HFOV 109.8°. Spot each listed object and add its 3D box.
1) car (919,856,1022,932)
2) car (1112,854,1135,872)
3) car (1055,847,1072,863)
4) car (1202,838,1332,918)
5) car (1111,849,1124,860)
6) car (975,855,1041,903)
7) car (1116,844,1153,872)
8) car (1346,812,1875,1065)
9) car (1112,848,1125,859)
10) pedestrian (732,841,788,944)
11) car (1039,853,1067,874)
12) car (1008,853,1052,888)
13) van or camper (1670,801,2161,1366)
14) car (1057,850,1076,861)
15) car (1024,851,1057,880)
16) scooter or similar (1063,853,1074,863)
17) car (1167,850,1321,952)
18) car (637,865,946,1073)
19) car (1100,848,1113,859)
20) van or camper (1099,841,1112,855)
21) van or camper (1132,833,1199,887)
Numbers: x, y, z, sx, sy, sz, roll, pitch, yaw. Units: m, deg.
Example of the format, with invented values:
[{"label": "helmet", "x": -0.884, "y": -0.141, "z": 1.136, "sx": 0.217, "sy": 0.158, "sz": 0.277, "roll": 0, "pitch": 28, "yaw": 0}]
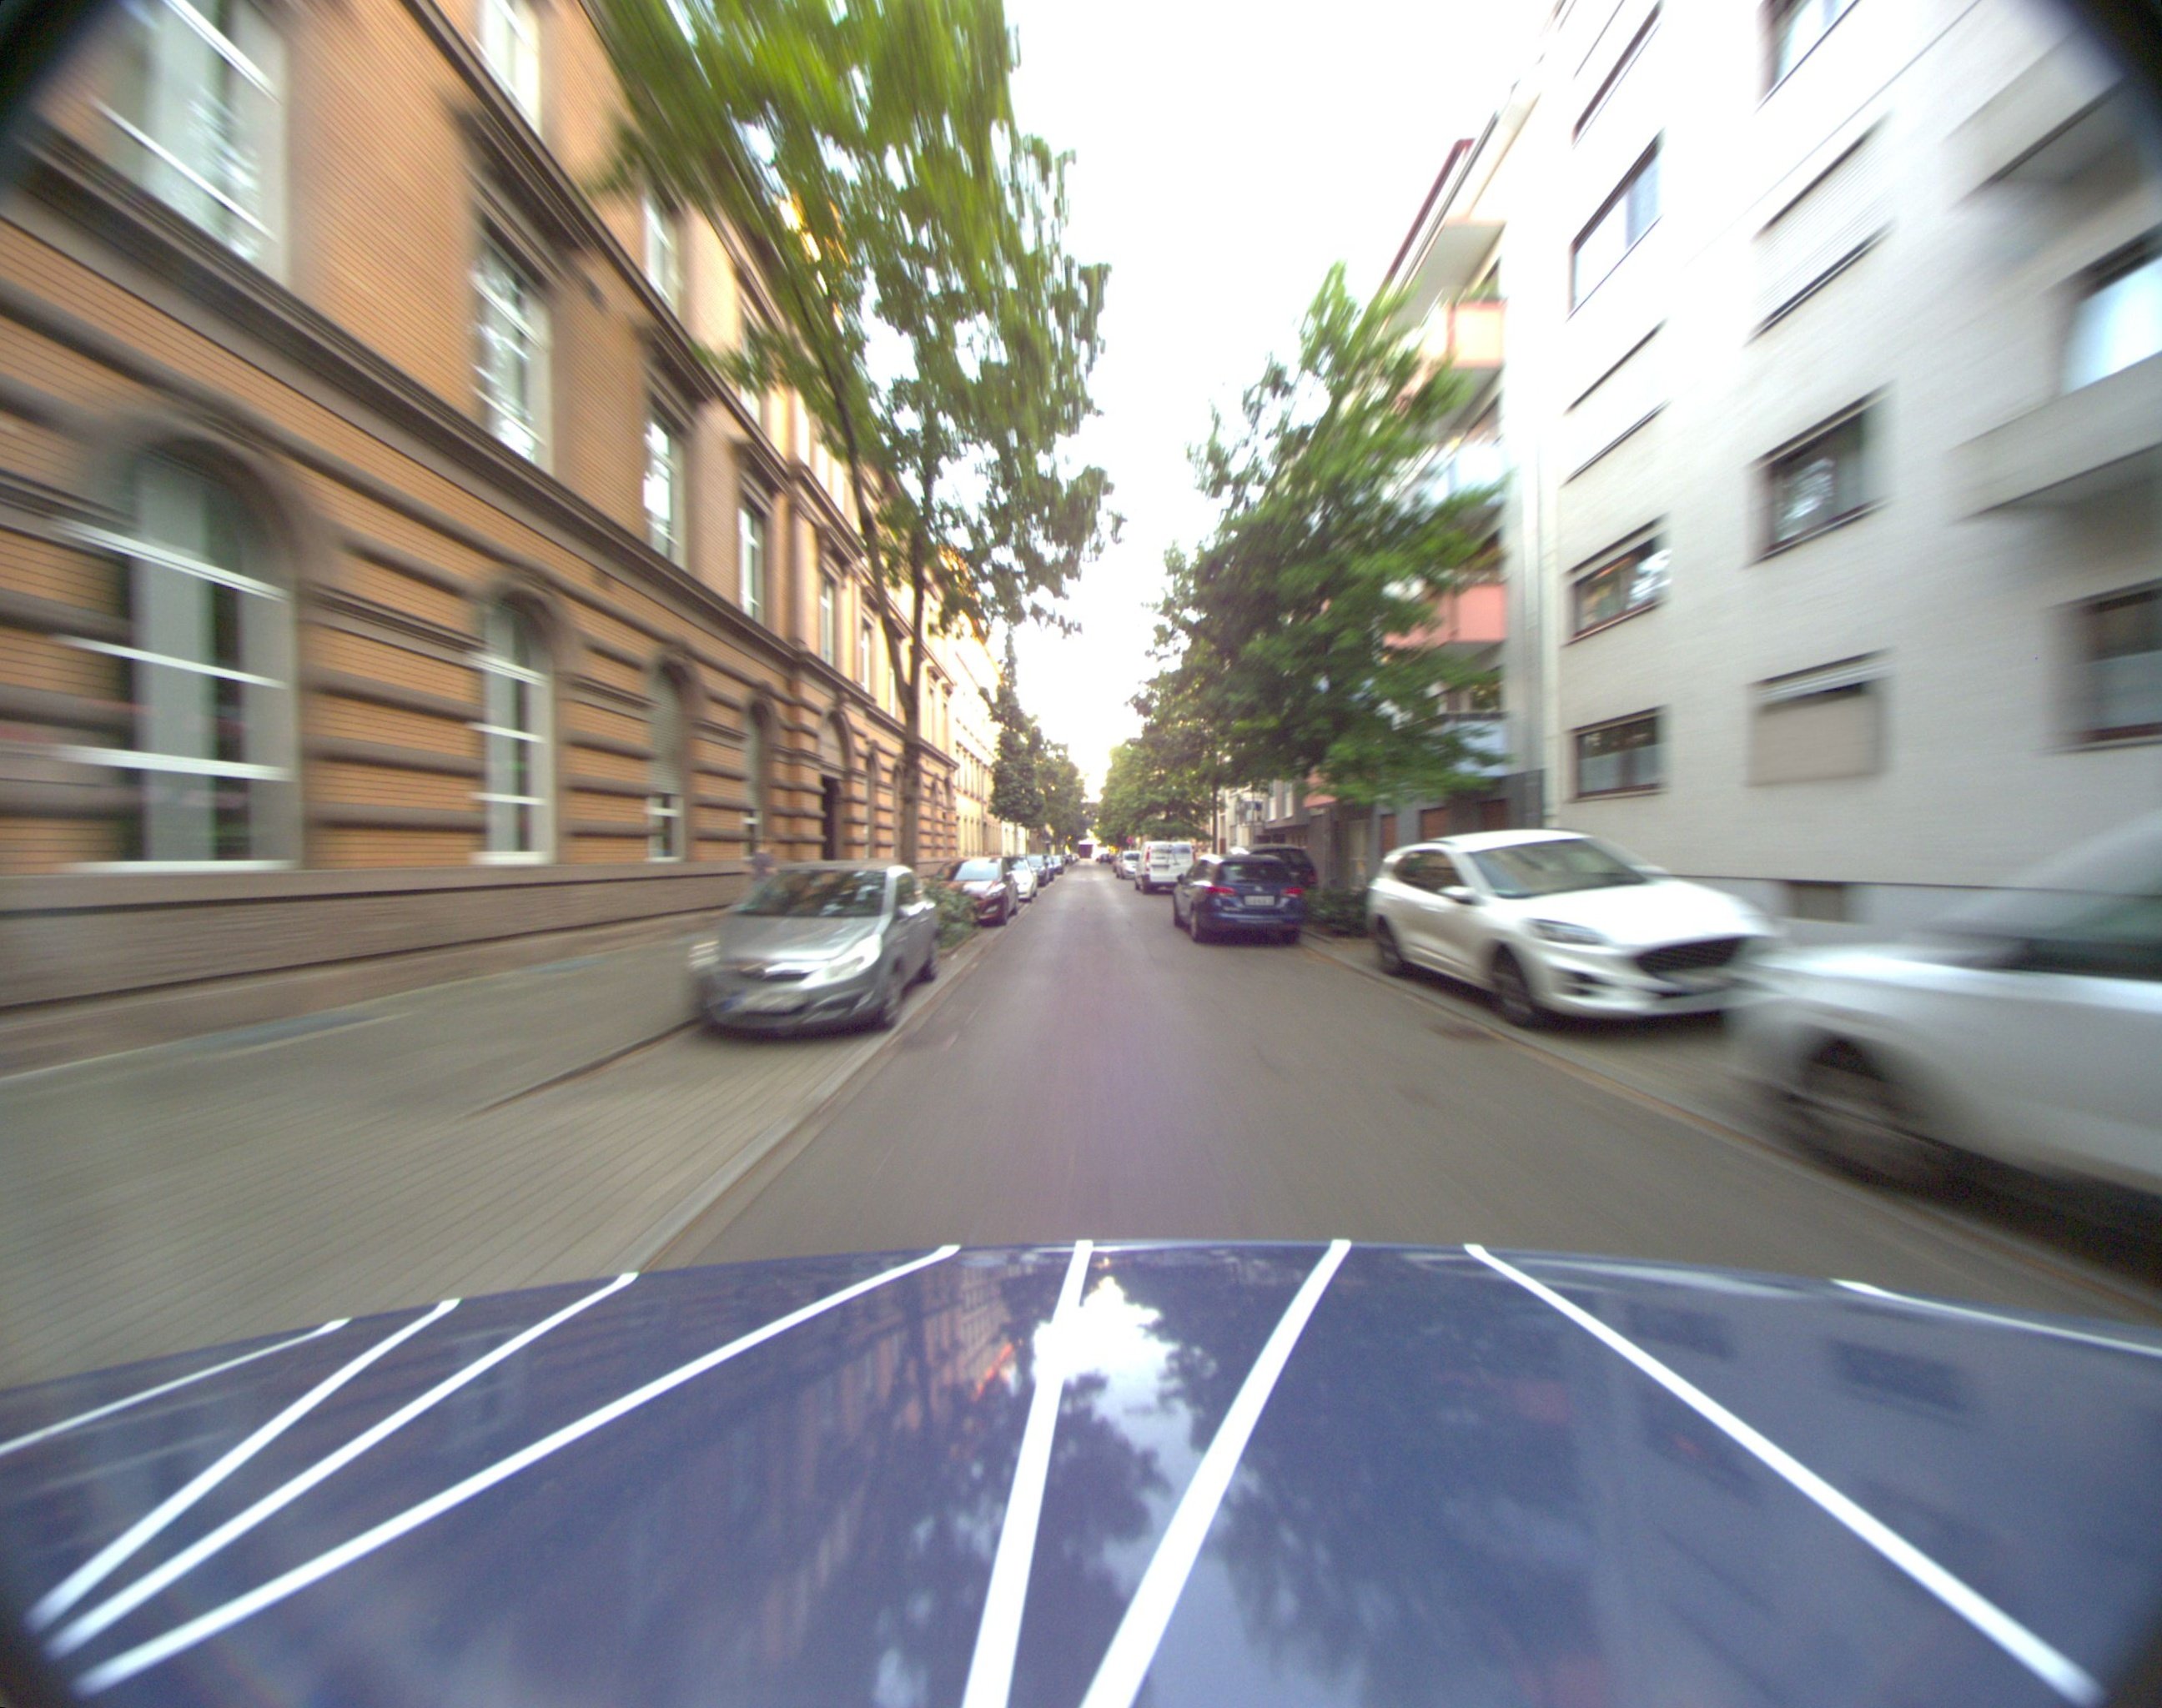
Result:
[{"label": "car", "x": -2.404, "y": 0.814, "z": 17.498, "sx": 1.726, "sy": 1.441, "sz": 4.214, "roll": 0, "pitch": 1, "yaw": 0}, {"label": "car", "x": 3.364, "y": 0.697, "z": 60.604, "sx": 1.584, "sy": 1.412, "sz": 3.753, "roll": -1, "pitch": 1, "yaw": 0}, {"label": "car", "x": -2.147, "y": 0.120, "z": 94.550, "sx": 2.019, "sy": 1.822, "sz": 4.810, "roll": 1, "pitch": 0, "yaw": 0}, {"label": "car", "x": 4.455, "y": 0.507, "z": 19.038, "sx": 1.998, "sy": 1.637, "sz": 4.921, "roll": -3, "pitch": 0, "yaw": 0}, {"label": "car", "x": 5.326, "y": 0.075, "z": 112.176, "sx": 1.695, "sy": 1.493, "sz": 3.711, "roll": -3, "pitch": 1, "yaw": -1}, {"label": "car", "x": -2.294, "y": 0.747, "z": 24.974, "sx": 1.698, "sy": 1.393, "sz": 4.645, "roll": 0, "pitch": 0, "yaw": 0}, {"label": "car", "x": 3.043, "y": 0.200, "z": 43.819, "sx": 1.668, "sy": 1.554, "sz": 3.999, "roll": -1, "pitch": 0, "yaw": -3}, {"label": "car", "x": 4.597, "y": 0.597, "z": 7.747, "sx": 2.039, "sy": 1.662, "sz": 4.647, "roll": -4, "pitch": 0, "yaw": -1}, {"label": "car", "x": 5.322, "y": -0.118, "z": 108.286, "sx": 1.523, "sy": 1.493, "sz": 3.561, "roll": -3, "pitch": 1, "yaw": 0}, {"label": "pedestrian", "x": -5.250, "y": 0.621, "z": 12.460, "sx": 0.628, "sy": 1.639, "sz": 0.532, "roll": -2, "pitch": 1, "yaw": 1}, {"label": "car", "x": -2.013, "y": 0.658, "z": 56.069, "sx": 1.771, "sy": 1.407, "sz": 4.473, "roll": 1, "pitch": 0, "yaw": 1}, {"label": "car", "x": -2.253, "y": 0.711, "z": 34.786, "sx": 1.716, "sy": 1.469, "sz": 4.192, "roll": -1, "pitch": 0, "yaw": 0}, {"label": "van or camper", "x": 4.362, "y": 0.693, "z": 2.058, "sx": 1.936, "sy": 1.749, "sz": 4.464, "roll": -4, "pitch": 0, "yaw": -1}, {"label": "car", "x": -2.135, "y": 0.179, "z": 112.390, "sx": 2.804, "sy": 1.590, "sz": 1.800, "roll": 2, "pitch": 1, "yaw": 1}, {"label": "car", "x": -2.161, "y": 0.593, "z": 41.316, "sx": 1.632, "sy": 1.458, "sz": 4.244, "roll": -1, "pitch": 0, "yaw": -1}, {"label": "scooter or similar", "x": -1.455, "y": 0.453, "z": 90.320, "sx": 0.673, "sy": 1.183, "sz": 1.118, "roll": 2, "pitch": 2, "yaw": 40}, {"label": "car", "x": 2.776, "y": 0.715, "z": 13.984, "sx": 1.835, "sy": 1.508, "sz": 4.515, "roll": -1, "pitch": 1, "yaw": 0}, {"label": "car", "x": -2.541, "y": 0.902, "z": 7.736, "sx": 1.702, "sy": 1.474, "sz": 3.999, "roll": 1, "pitch": 0, "yaw": -2}, {"label": "car", "x": 3.870, "y": -0.041, "z": 116.140, "sx": 1.728, "sy": 1.564, "sz": 4.219, "roll": -1, "pitch": 0, "yaw": 0}, {"label": "van or camper", "x": 4.345, "y": -1.125, "z": 135.593, "sx": 2.225, "sy": 2.417, "sz": 5.660, "roll": -1, "pitch": 0, "yaw": 1}, {"label": "van or camper", "x": 3.061, "y": 0.198, "z": 28.556, "sx": 1.882, "sy": 1.832, "sz": 4.752, "roll": -1, "pitch": 0, "yaw": -1}]
